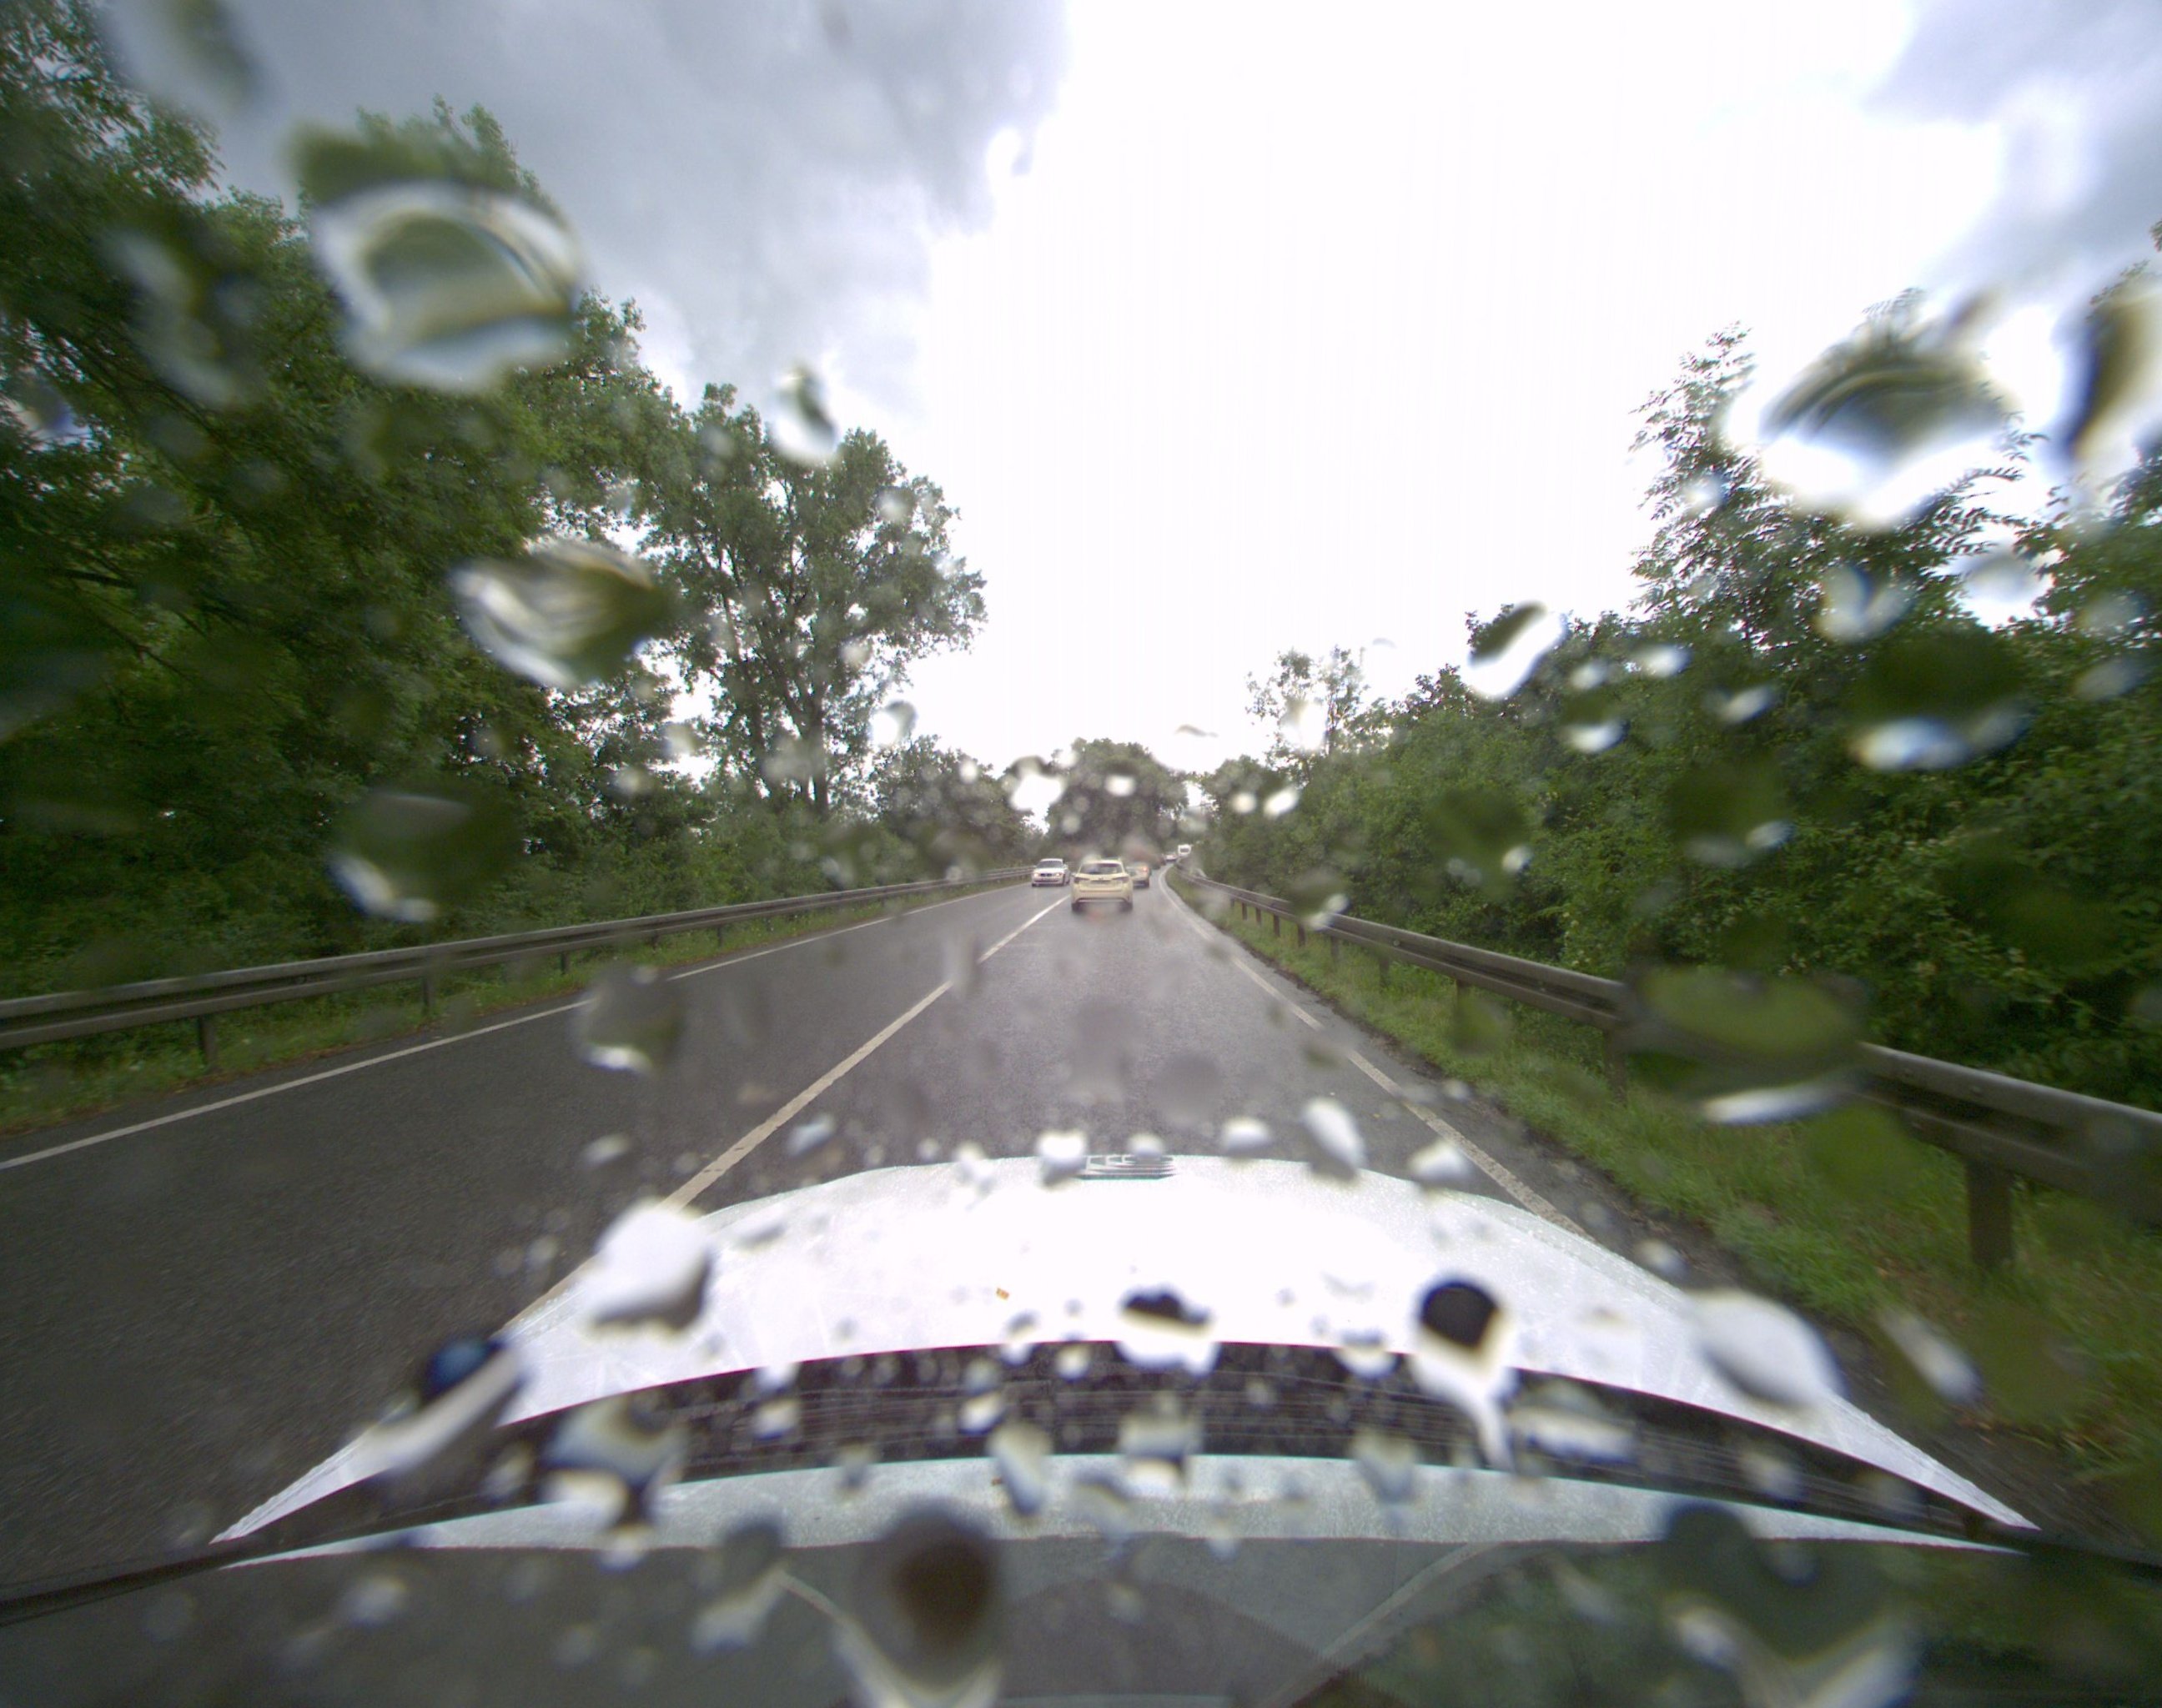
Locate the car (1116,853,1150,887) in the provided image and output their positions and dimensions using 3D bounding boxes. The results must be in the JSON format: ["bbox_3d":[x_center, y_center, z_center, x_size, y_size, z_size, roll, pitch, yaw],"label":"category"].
[{"bbox_3d":[2.588,0.733,40.041,1.571,1.572,3.686,-1,0,5],"label":"car"}]

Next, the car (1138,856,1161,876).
[{"bbox_3d":[5.196,0.858,61.415,1.657,1.464,3.481,-1,0,5],"label":"car"}]

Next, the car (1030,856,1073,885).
[{"bbox_3d":[-1.519,0.831,43.559,1.806,1.454,4.052,-1,0,5],"label":"car"}]

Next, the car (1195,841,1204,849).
[{"bbox_3d":[24.524,-1.775,168.527,1.635,1.585,3.696,-1,-1,13],"label":"car"}]

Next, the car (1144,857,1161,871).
[{"bbox_3d":[7.200,1.039,82.319,1.653,1.409,3.909,-1,-1,4],"label":"car"}]

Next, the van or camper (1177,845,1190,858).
[{"bbox_3d":[18.144,-0.440,143.612,1.981,2.254,4.012,-1,-1,11],"label":"van or camper"}]

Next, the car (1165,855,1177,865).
[{"bbox_3d":[12.853,0.821,115.646,1.473,1.309,3.486,-1,0,10],"label":"car"}]

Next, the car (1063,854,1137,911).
[{"bbox_3d":[0.665,0.787,24.511,1.896,1.537,4.168,-1,0,5],"label":"car"}]

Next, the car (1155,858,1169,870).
[{"bbox_3d":[9.867,1.200,99.032,1.473,1.309,3.486,-1,0,10],"label":"car"}]
